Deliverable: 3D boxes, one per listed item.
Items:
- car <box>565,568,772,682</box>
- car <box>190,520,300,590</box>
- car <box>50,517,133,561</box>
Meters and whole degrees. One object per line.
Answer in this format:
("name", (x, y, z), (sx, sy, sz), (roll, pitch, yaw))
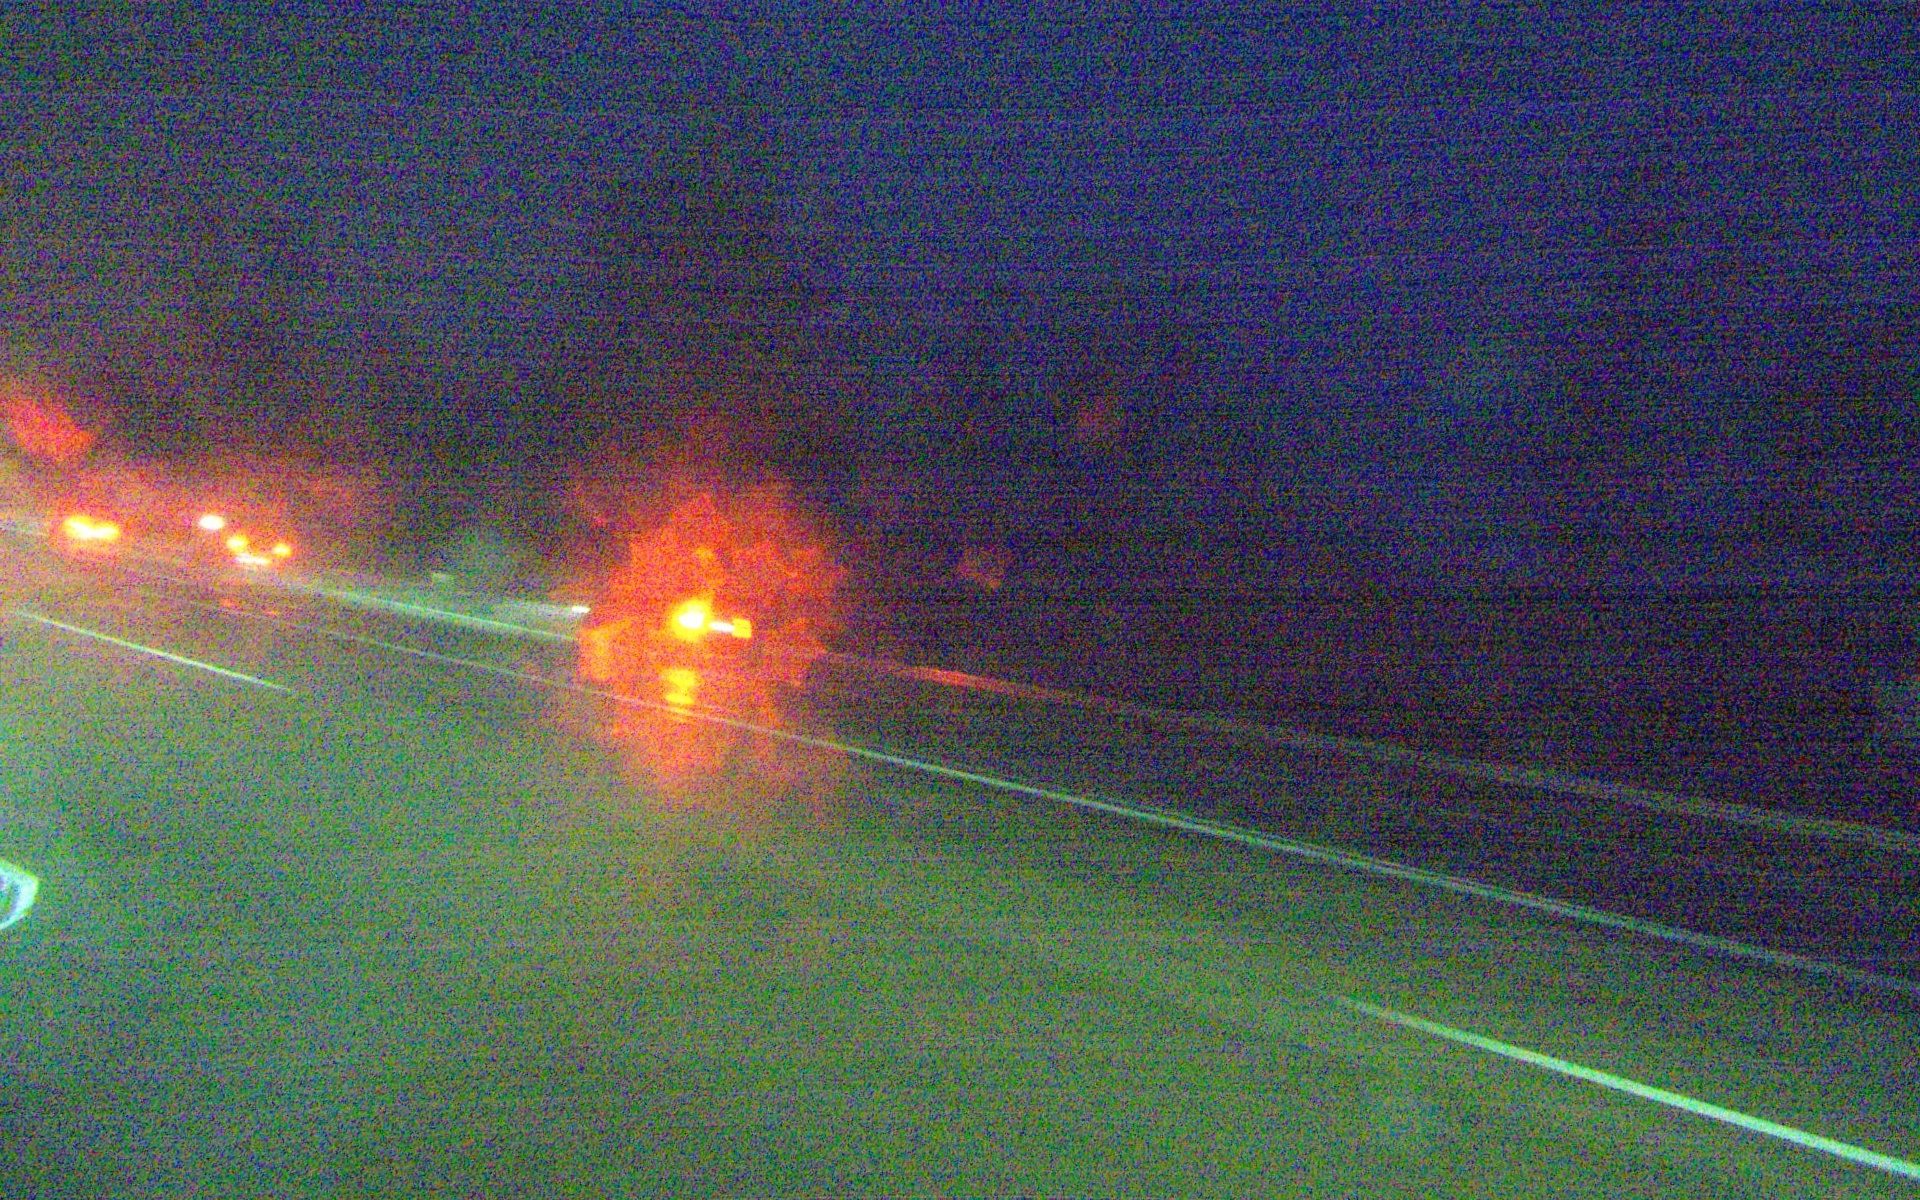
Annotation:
("car", (-7.392, 0.572, 25.192), (5.368, 2.036, 2.064), (7, -2, 39))
("car", (-27.378, -1.739, 38.492), (3.941, 2.036, 2.234), (7, -2, 39))
("car", (-44.360, -3.123, 51.371), (3.935, 1.617, 1.999), (7, -4, 33))
